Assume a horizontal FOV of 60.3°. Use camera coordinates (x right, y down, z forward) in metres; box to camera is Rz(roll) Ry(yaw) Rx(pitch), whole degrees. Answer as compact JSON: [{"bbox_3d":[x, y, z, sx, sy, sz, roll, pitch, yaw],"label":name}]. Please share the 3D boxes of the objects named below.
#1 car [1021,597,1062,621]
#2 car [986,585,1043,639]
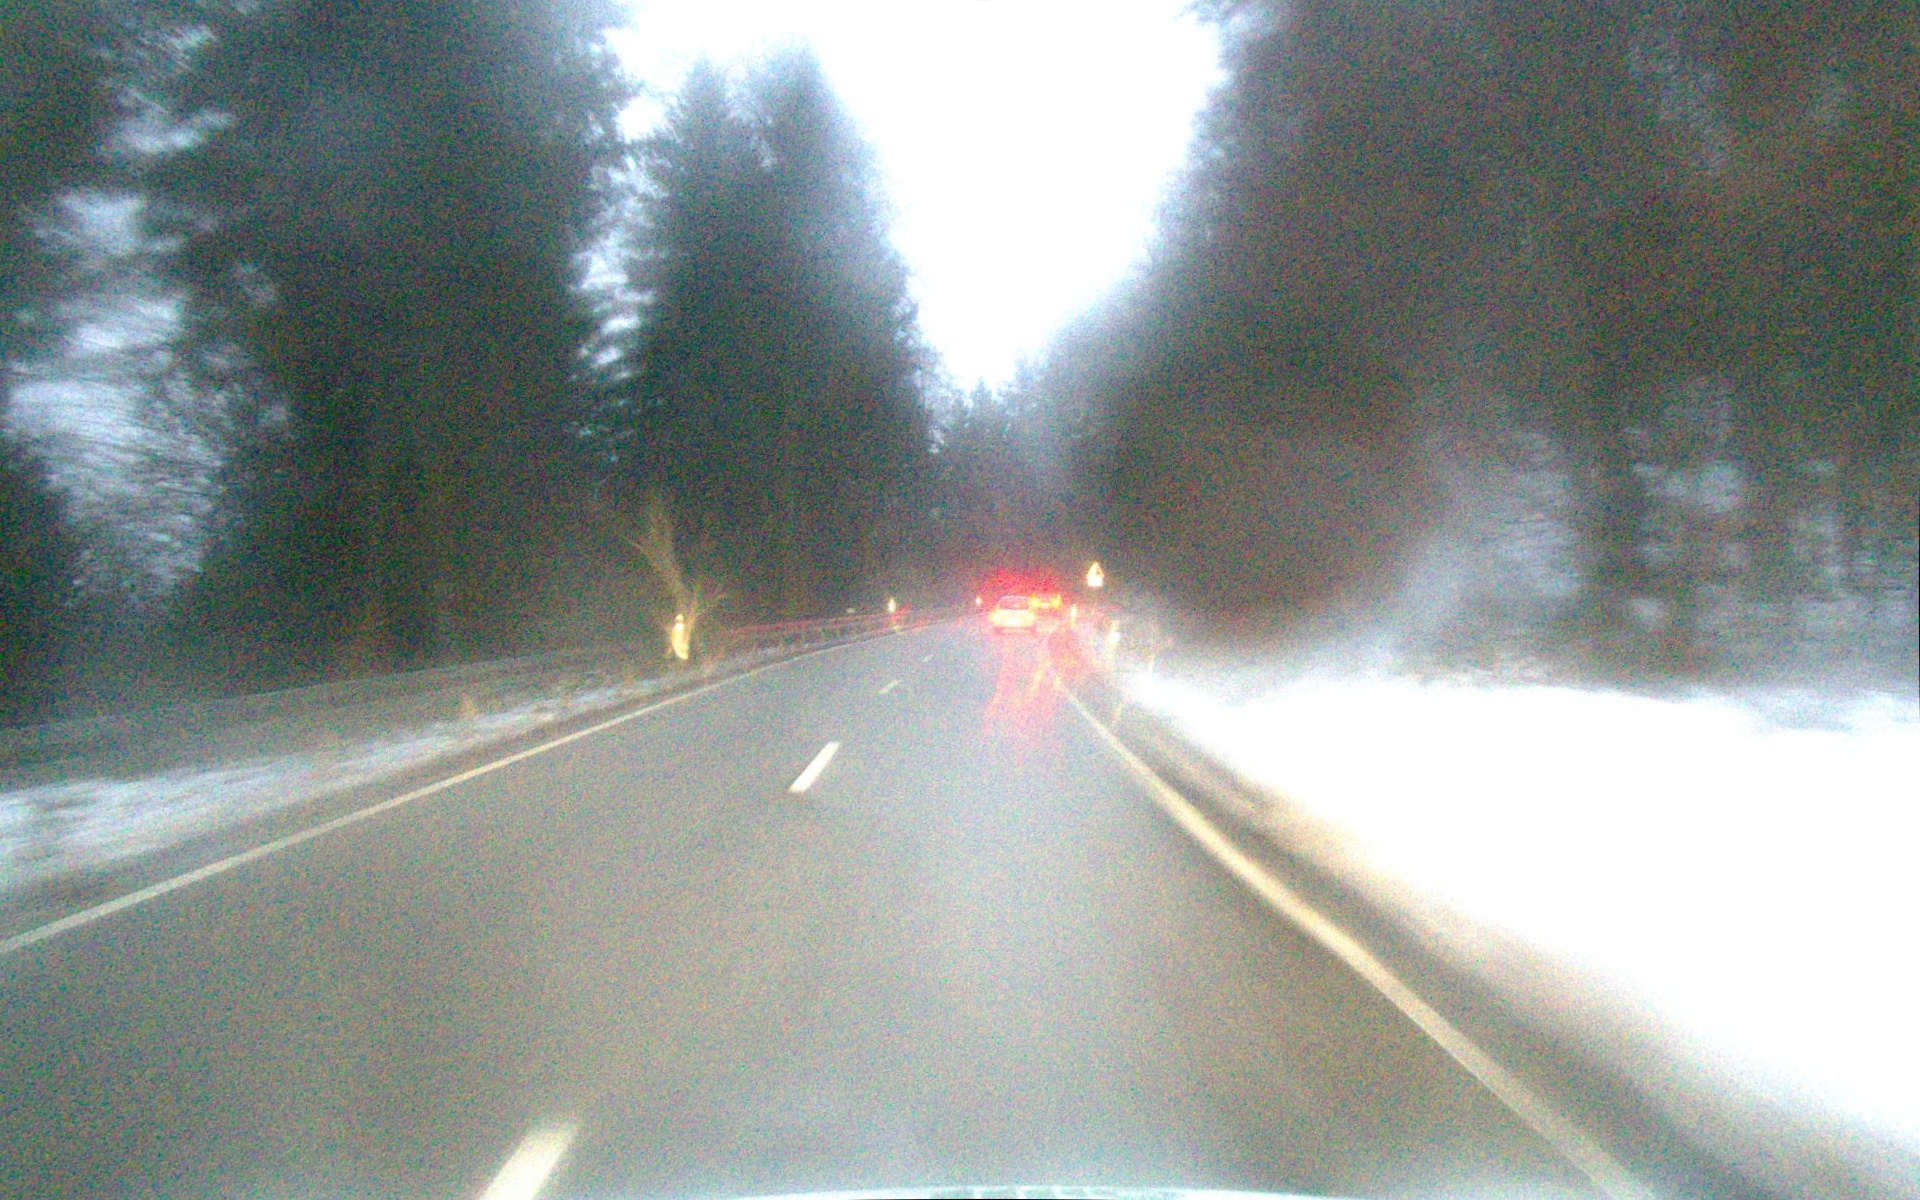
[{"bbox_3d":[4.957,0.562,100.879,1.954,1.333,3.997,-3,0,-4],"label":"car"},{"bbox_3d":[2.116,0.411,63.217,1.952,1.905,4.002,-3,0,4],"label":"car"}]
